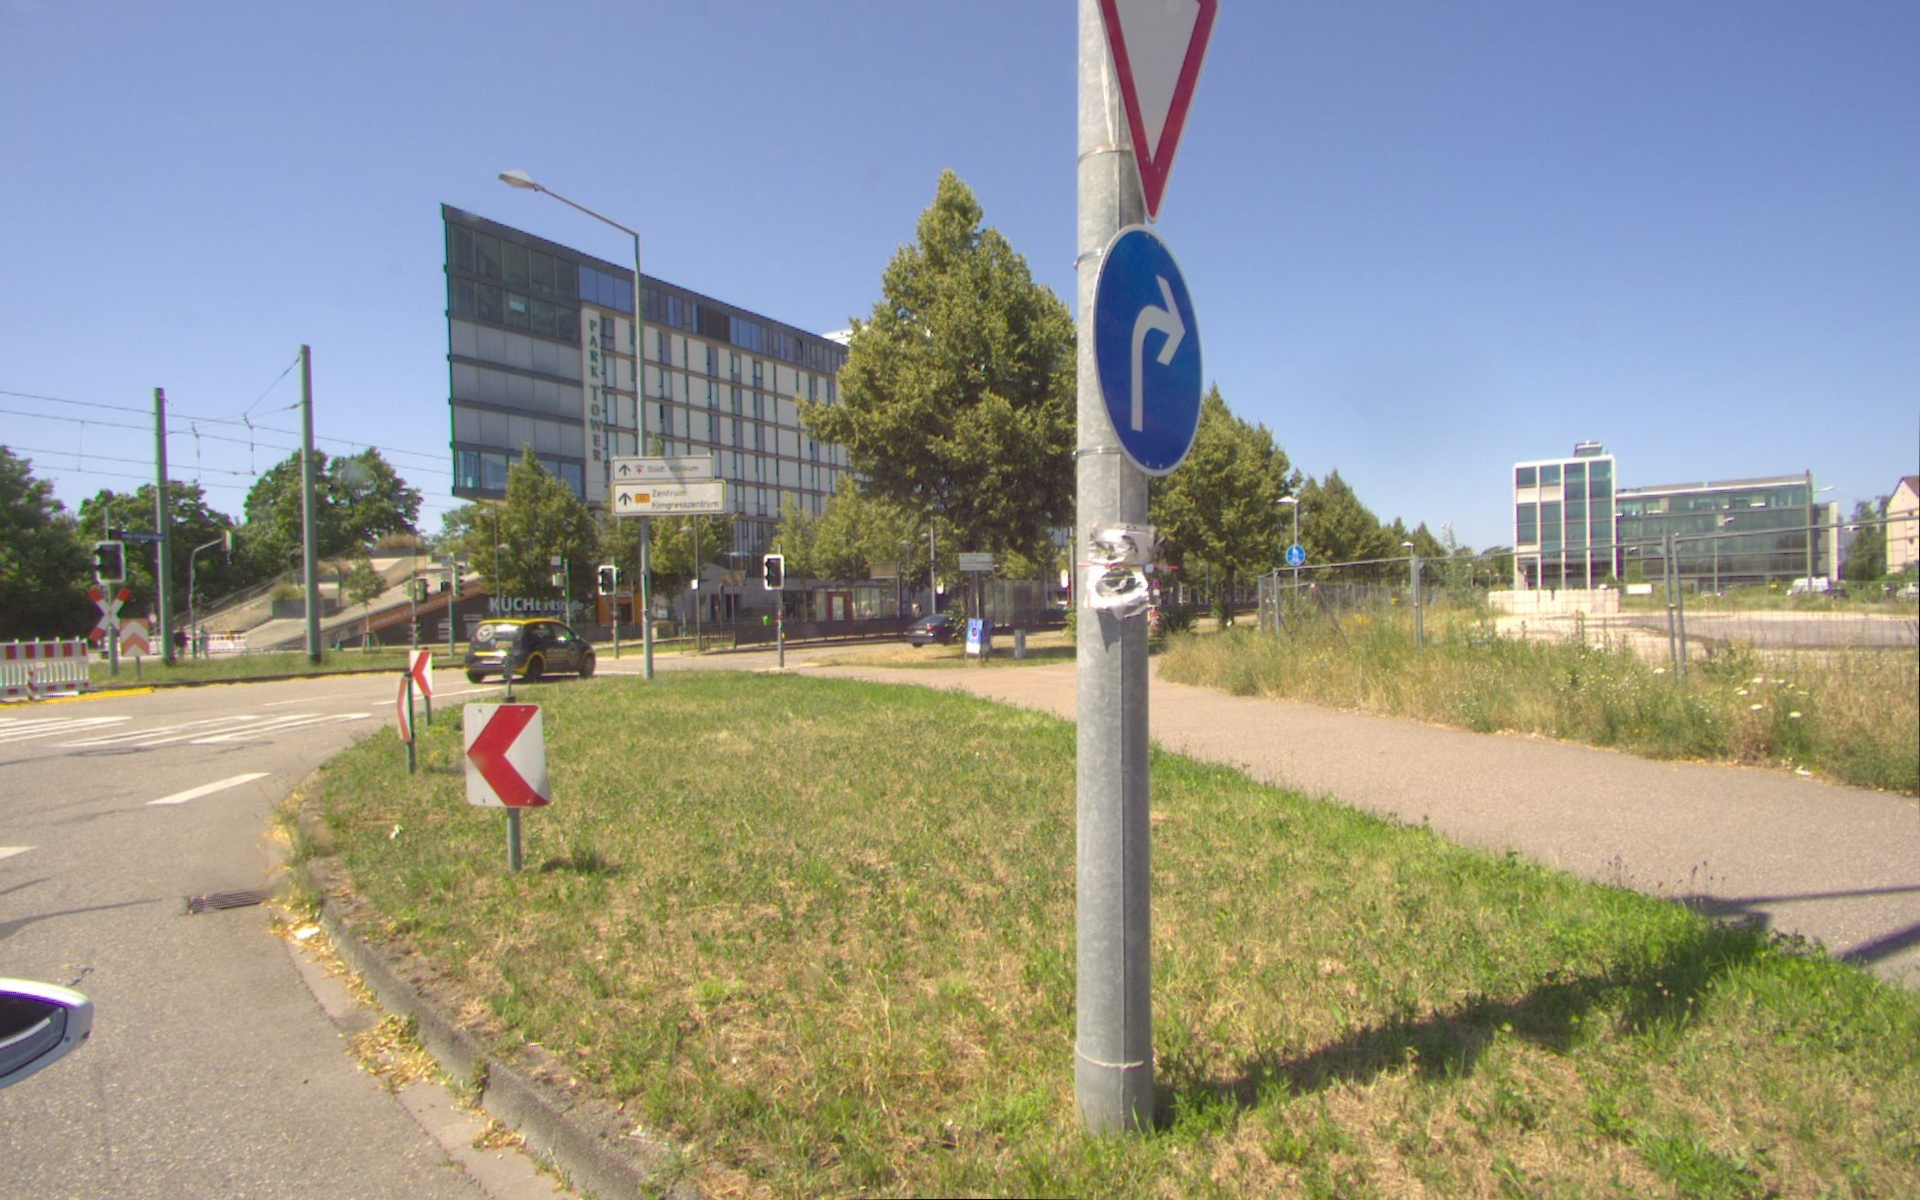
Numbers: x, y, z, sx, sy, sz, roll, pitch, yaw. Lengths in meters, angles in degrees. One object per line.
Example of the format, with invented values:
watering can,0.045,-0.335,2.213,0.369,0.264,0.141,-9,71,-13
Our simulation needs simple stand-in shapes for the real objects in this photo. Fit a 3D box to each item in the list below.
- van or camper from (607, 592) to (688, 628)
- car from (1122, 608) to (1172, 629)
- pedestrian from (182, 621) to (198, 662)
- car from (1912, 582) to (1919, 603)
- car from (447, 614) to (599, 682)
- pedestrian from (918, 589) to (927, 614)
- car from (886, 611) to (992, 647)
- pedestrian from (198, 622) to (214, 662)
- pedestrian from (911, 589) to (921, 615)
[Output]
van or camper,-26.062,0.847,83.896,2.346,2.859,6.759,-1,-1,28
car,13.612,1.322,72.726,1.972,1.467,4.733,-1,-2,33
pedestrian,-33.792,1.826,43.957,0.287,1.762,0.447,-1,0,30
car,77.172,-0.645,79.251,1.654,1.606,3.608,-2,-2,27
car,-10.273,1.103,23.863,1.592,1.470,3.987,-1,-1,5
pedestrian,-2.671,0.134,71.837,0.404,1.775,0.583,-1,0,28
car,-0.835,1.222,42.566,1.976,1.467,4.615,-2,-2,39
pedestrian,-33.501,1.845,44.482,0.313,1.762,0.447,-1,0,30
pedestrian,-3.142,0.141,71.344,0.404,1.775,0.583,-1,0,28
